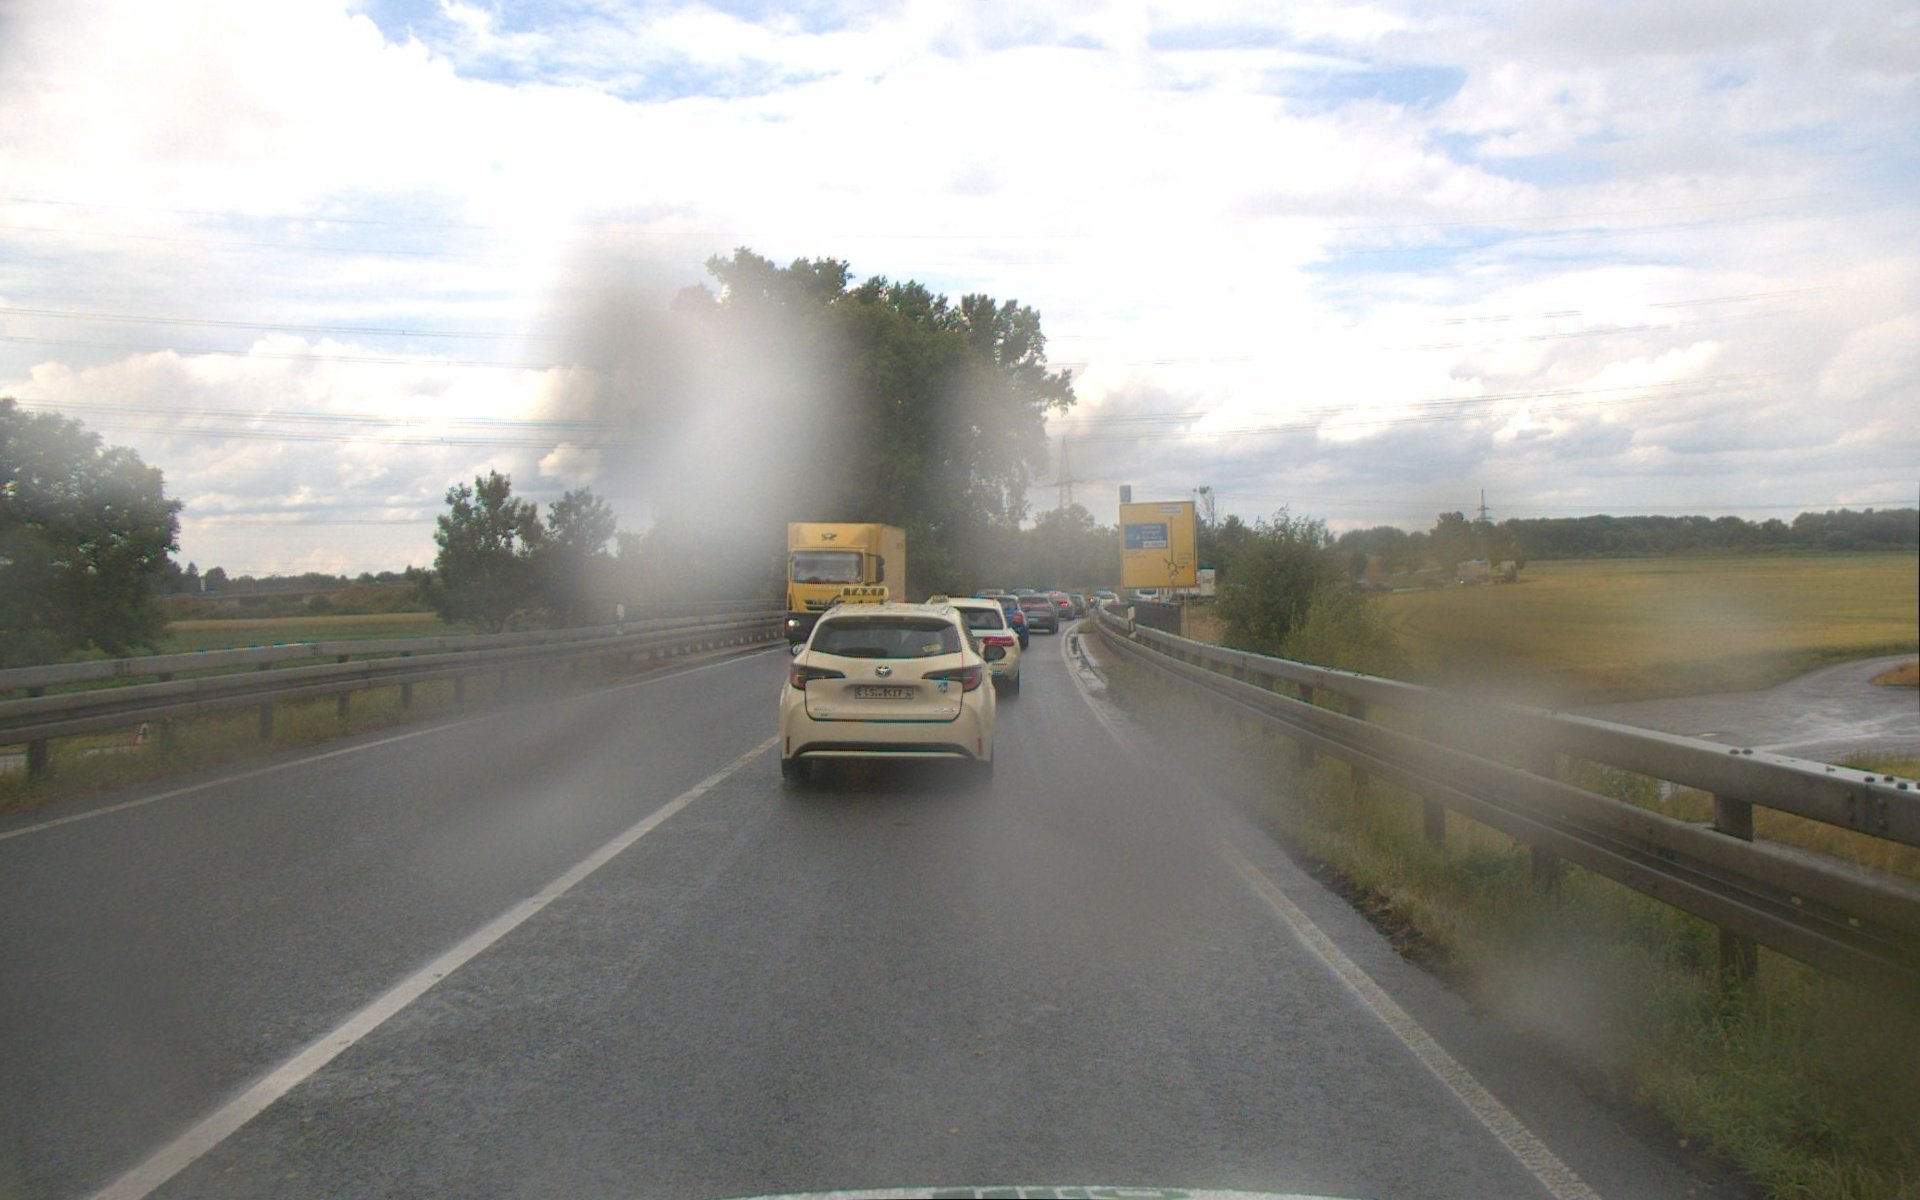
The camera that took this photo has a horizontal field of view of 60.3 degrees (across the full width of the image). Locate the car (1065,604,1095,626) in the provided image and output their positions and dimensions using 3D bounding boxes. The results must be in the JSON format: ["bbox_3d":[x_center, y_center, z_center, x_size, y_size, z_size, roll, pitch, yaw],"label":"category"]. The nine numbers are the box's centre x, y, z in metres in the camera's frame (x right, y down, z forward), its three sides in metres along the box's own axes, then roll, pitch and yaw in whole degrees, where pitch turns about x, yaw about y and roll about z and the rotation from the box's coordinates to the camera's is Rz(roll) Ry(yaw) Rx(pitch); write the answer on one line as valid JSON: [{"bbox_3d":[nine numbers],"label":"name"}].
[{"bbox_3d":[7.577,0.956,104.388,1.451,1.332,3.480,0,0,11],"label":"car"}]

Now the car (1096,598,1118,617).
[{"bbox_3d":[10.819,0.531,121.635,1.451,1.332,3.479,0,0,8],"label":"car"}]

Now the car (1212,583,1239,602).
[{"bbox_3d":[30.031,-0.817,186.902,2.123,2.049,3.998,0,-1,24],"label":"car"}]

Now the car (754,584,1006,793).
[{"bbox_3d":[-0.550,0.669,14.560,1.866,1.564,4.162,0,0,2],"label":"car"}]

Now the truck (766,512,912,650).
[{"bbox_3d":[-3.241,-0.485,46.933,2.712,3.489,9.192,1,0,4],"label":"truck"}]

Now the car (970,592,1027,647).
[{"bbox_3d":[1.096,0.525,46.124,1.474,1.462,3.357,1,0,3],"label":"car"}]

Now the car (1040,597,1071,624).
[{"bbox_3d":[5.300,0.595,91.135,1.625,1.434,3.906,0,-1,5],"label":"car"}]

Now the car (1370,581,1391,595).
[{"bbox_3d":[60.568,-1.737,238.118,1.957,2.049,3.991,0,-1,31],"label":"car"}]

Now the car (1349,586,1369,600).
[{"bbox_3d":[55.836,-0.994,231.570,1.784,1.870,3.982,0,-1,29],"label":"car"}]

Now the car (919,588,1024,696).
[{"bbox_3d":[0.238,0.629,26.461,1.545,1.600,3.682,0,0,2],"label":"car"}]

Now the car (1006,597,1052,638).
[{"bbox_3d":[2.652,0.655,62.782,1.630,1.489,3.478,0,0,4],"label":"car"}]

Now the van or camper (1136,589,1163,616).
[{"bbox_3d":[16.462,0.200,143.593,1.951,2.293,4.003,1,-1,11],"label":"van or camper"}]

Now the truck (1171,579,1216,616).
[{"bbox_3d":[23.650,-0.244,167.274,3.074,3.624,7.523,0,-1,19],"label":"truck"}]
